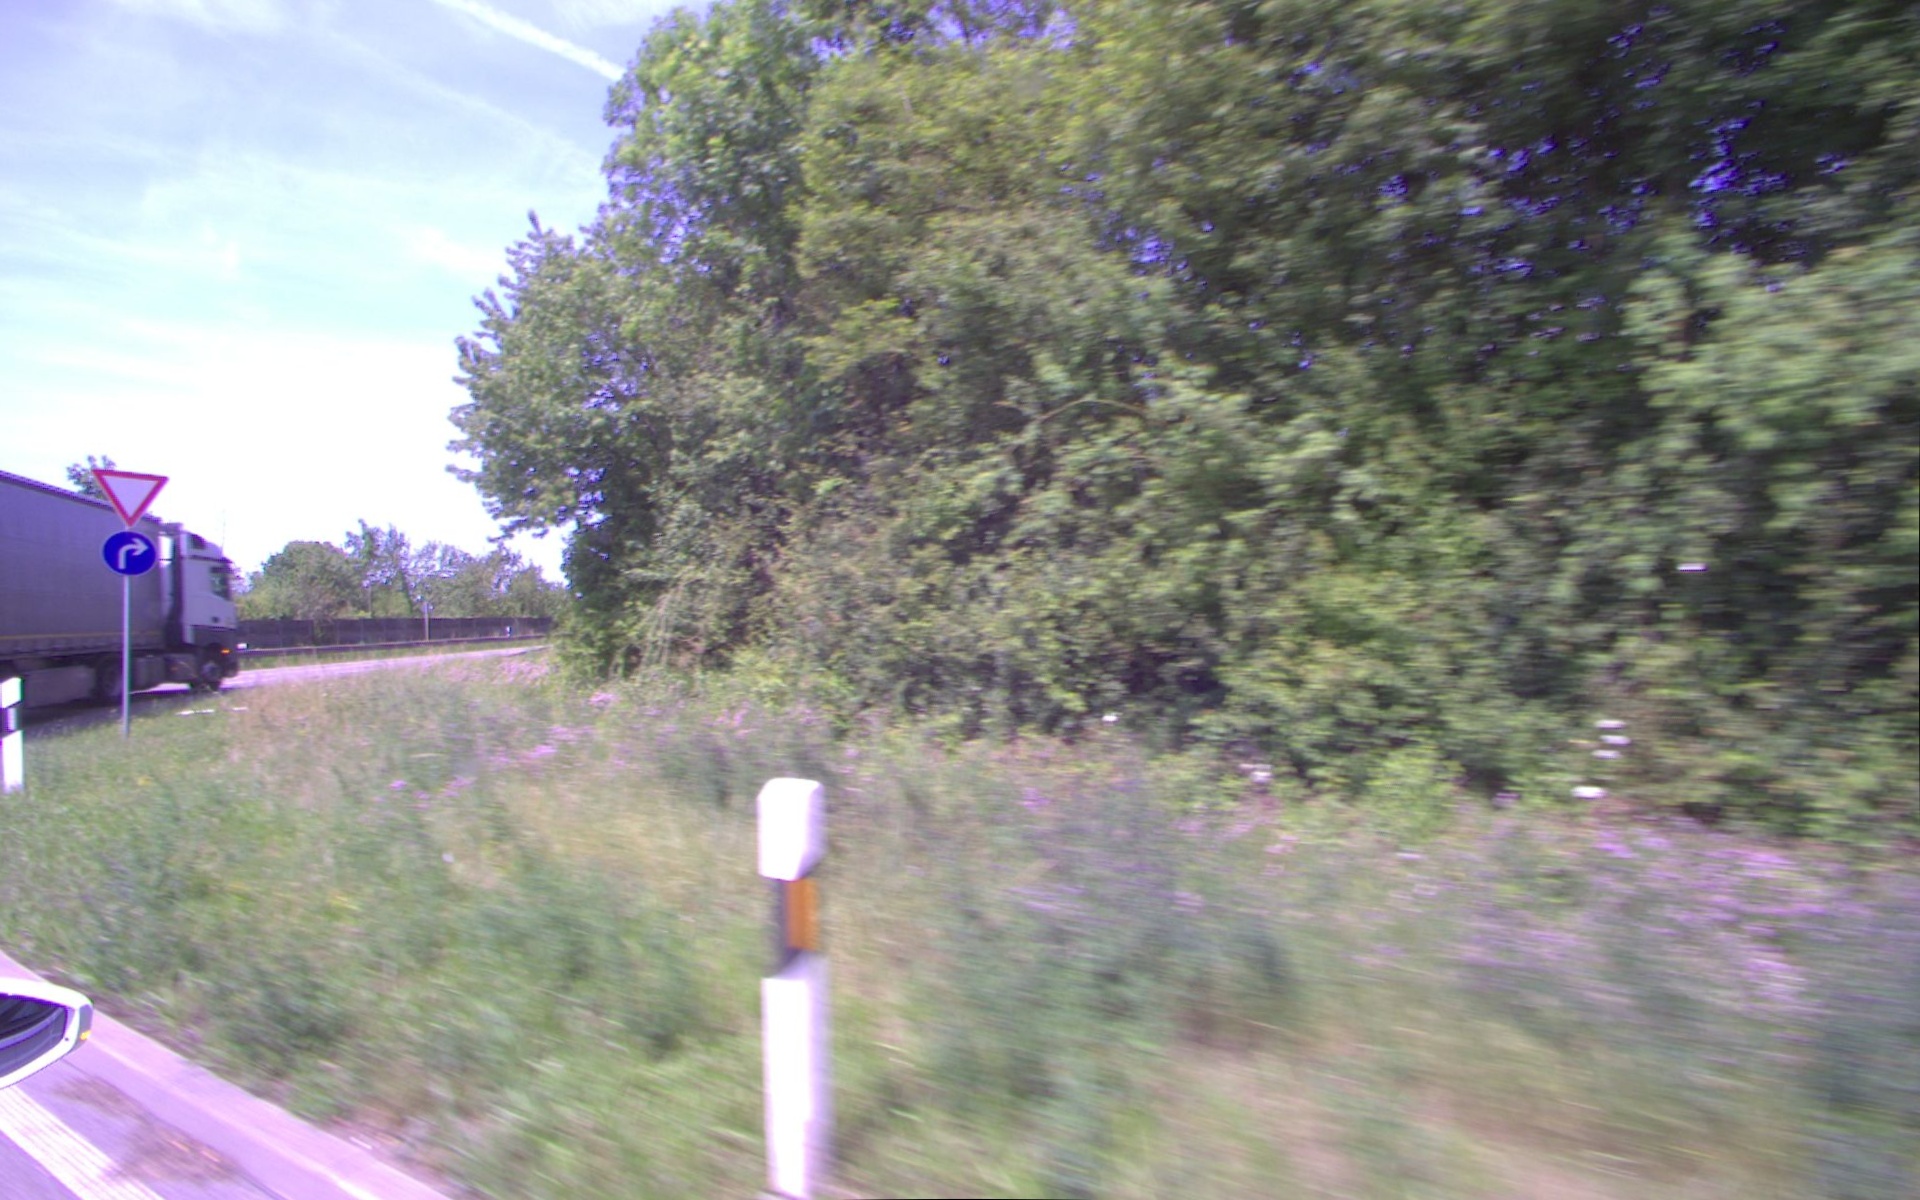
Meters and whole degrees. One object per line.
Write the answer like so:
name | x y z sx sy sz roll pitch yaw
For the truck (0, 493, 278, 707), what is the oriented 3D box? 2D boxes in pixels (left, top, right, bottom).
truck | -19.427 0.075 23.591 3.105 4.279 7.115 0 -1 -13

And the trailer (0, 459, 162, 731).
trailer | -16.462 -0.026 15.879 2.989 4.087 13.302 -1 -1 -26
